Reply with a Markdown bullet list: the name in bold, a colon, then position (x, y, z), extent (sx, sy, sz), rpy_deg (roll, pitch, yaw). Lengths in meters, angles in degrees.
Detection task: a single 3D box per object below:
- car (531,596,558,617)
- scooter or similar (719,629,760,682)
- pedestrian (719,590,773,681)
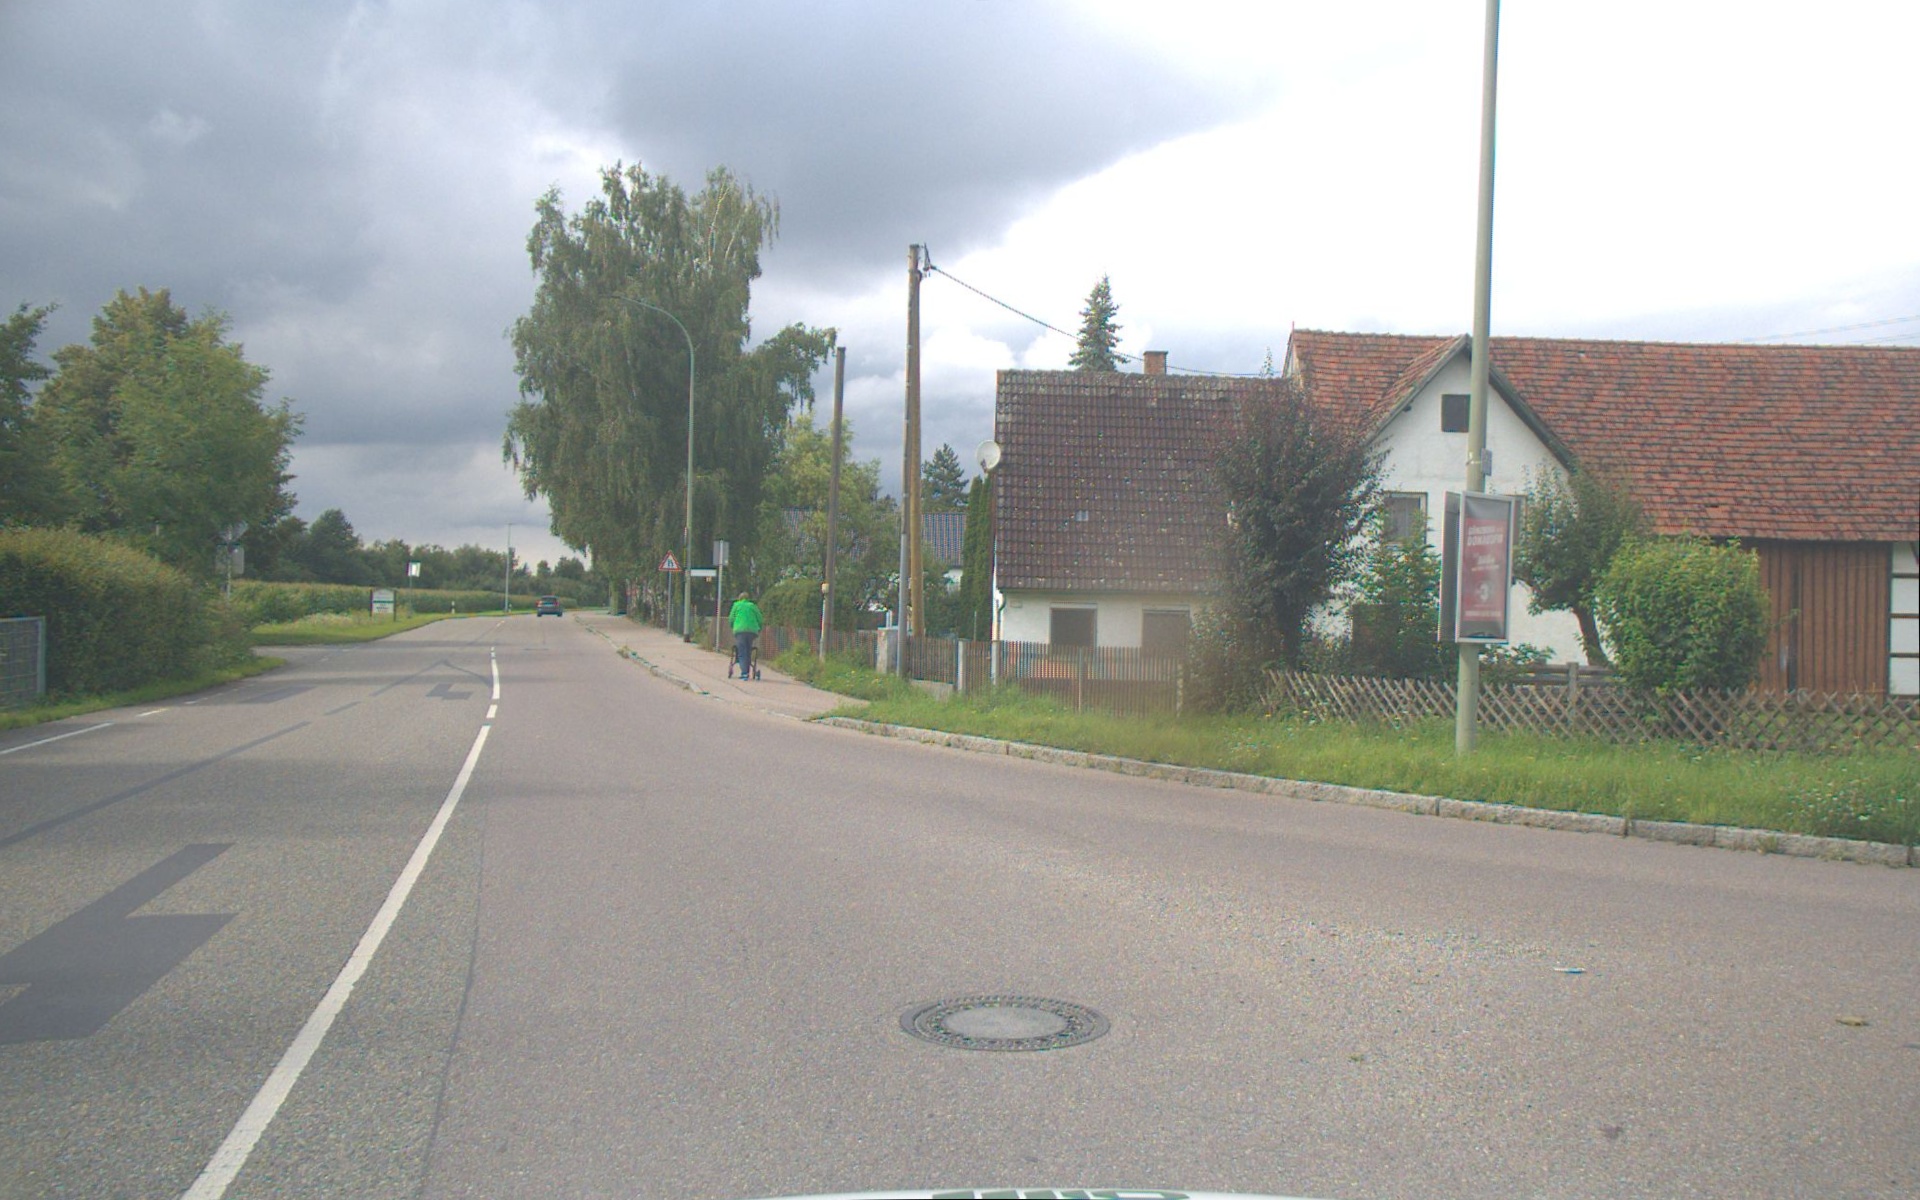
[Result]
- **car**: position (-32.437, 0.499, 129.038), extent (1.961, 1.579, 3.984), rpy_deg (2, 0, -15)
- **scooter or similar**: position (-4.359, 1.094, 32.725), extent (0.621, 0.964, 0.619), rpy_deg (6, -1, -18)
- **pedestrian**: position (-4.146, 0.682, 32.029), extent (0.776, 1.694, 0.708), rpy_deg (6, -2, -18)
